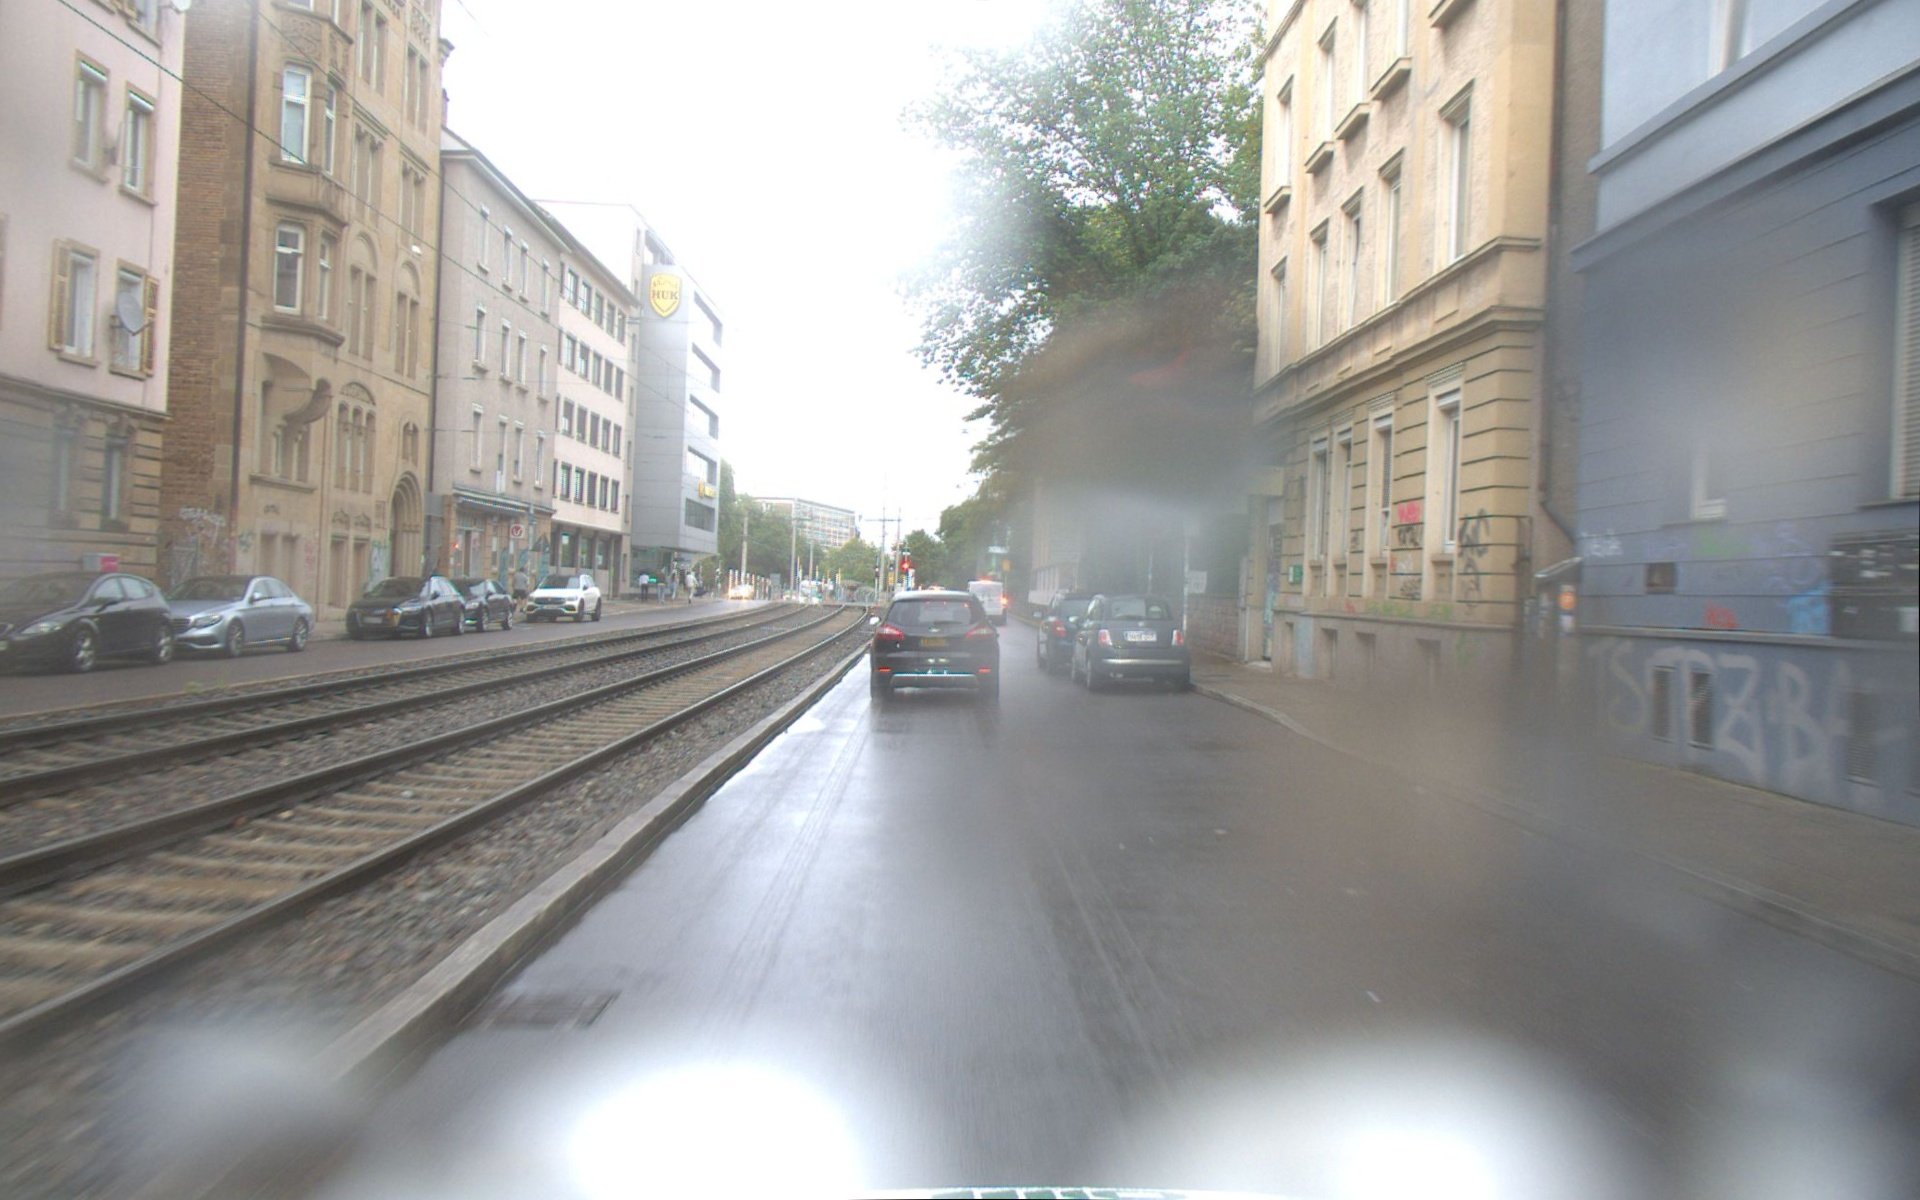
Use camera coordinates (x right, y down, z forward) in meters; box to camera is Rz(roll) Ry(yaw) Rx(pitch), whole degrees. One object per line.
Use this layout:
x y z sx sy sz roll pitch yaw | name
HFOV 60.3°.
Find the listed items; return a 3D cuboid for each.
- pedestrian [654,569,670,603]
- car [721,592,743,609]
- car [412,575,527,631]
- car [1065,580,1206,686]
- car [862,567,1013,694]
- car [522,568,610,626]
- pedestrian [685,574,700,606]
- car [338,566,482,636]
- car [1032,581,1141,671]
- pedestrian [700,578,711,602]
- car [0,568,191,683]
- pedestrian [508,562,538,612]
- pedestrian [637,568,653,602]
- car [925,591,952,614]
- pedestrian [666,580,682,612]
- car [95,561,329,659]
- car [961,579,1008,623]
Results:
-16.713 -0.795 92.822 0.729 1.886 0.839 1 -2 -2 | pedestrian
-21.054 0.009 152.772 1.957 1.467 3.992 2 0 -9 | car
-13.731 0.088 46.552 1.953 1.400 4.237 2 0 -1 | car
2.748 0.483 26.637 1.703 1.515 3.999 2 0 -2 | car
-0.309 0.441 23.945 1.953 1.622 4.270 1 -1 0 | car
-13.766 -0.097 58.077 1.953 1.871 5.069 2 0 -2 | car
-16.044 -0.586 99.193 0.729 1.886 0.839 1 -2 -2 | pedestrian
-13.402 0.032 40.611 1.953 1.545 4.675 2 0 -1 | car
2.343 0.453 31.499 1.609 1.542 4.038 2 0 -2 | car
-20.134 -0.767 131.037 0.729 1.886 0.839 1 -2 -2 | pedestrian
-13.438 0.330 24.654 1.953 1.545 4.208 2 0 -1 | car
-16.149 -0.478 61.095 0.785 1.781 0.984 2 0 -2 | pedestrian
-17.666 -0.821 92.695 0.729 1.886 0.839 1 -2 -2 | pedestrian
-1.611 0.227 125.719 1.953 1.622 4.270 1 -1 0 | car
-17.127 -0.235 99.034 0.729 1.886 0.839 1 -2 -2 | pedestrian
-13.353 0.178 29.919 1.953 1.545 4.991 2 0 -1 | car
1.066 0.061 74.045 1.953 1.848 4.270 1 -1 0 | car
